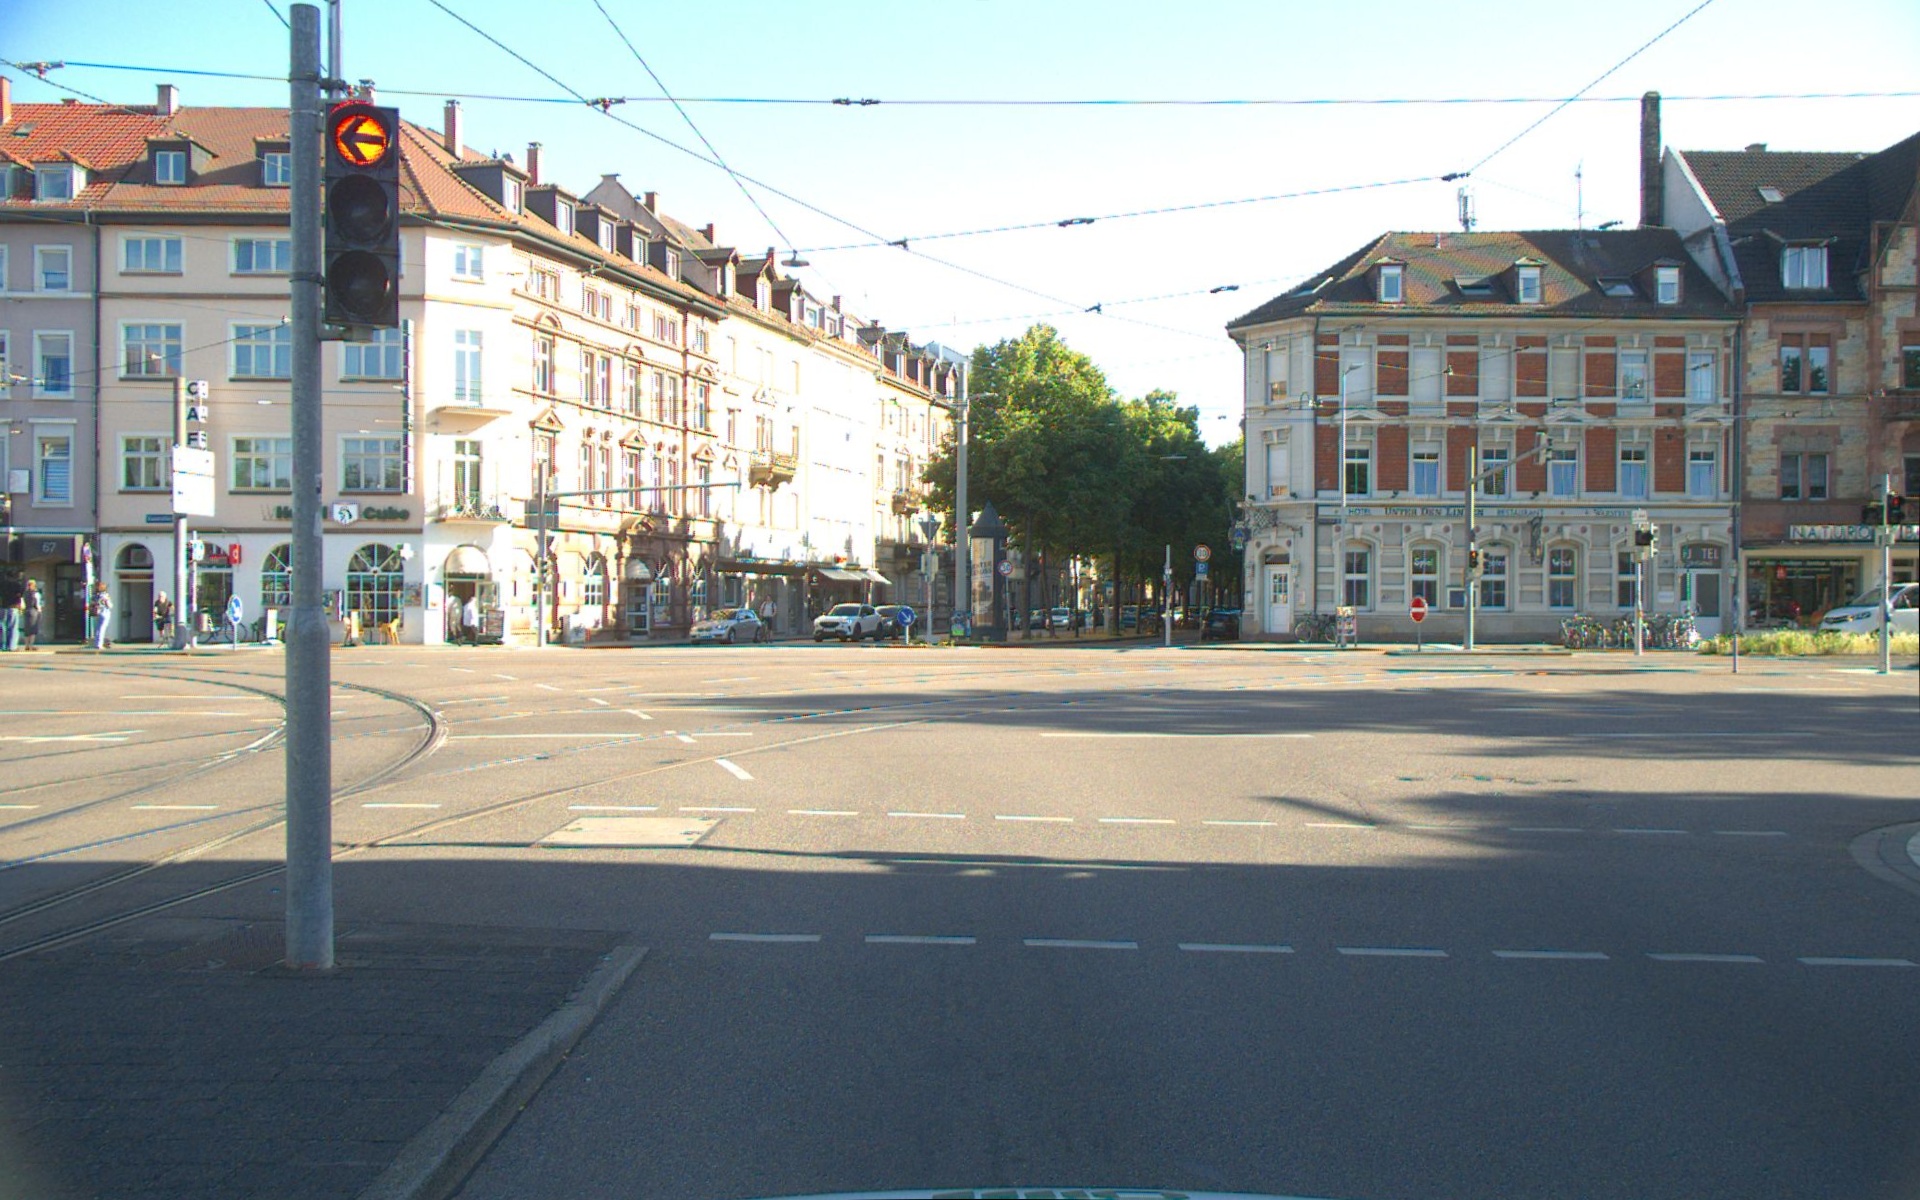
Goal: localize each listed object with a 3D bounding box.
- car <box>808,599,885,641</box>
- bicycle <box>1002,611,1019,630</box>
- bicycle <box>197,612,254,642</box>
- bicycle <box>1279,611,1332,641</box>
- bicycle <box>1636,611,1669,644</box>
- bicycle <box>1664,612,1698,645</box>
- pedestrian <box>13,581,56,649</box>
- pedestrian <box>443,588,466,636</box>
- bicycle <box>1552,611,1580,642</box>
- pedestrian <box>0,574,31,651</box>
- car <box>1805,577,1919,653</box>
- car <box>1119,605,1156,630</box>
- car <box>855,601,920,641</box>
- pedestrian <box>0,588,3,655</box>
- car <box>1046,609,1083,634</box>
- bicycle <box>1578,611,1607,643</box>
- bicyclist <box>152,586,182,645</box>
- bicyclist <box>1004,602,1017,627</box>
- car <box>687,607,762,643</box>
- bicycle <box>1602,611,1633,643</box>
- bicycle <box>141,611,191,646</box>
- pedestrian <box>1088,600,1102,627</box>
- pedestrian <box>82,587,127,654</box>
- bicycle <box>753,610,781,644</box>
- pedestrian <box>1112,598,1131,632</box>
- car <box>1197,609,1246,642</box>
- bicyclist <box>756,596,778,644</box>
[{"bbox_3d":[-4.580,0.807,67.191,1.764,1.613,4.162,1,0,16],"label":"car"},{"bbox_3d":[3.263,1.332,106.589,0.659,1.228,1.822,1,0,17],"label":"bicycle"},{"bbox_3d":[-25.100,0.916,56.513,1.666,1.000,0.611,1,0,-1],"label":"bicycle"},{"bbox_3d":[11.976,0.904,57.297,1.764,0.979,0.604,1,0,14],"label":"bicycle"},{"bbox_3d":[22.470,0.889,53.688,0.749,1.025,2.221,1,0,17],"label":"bicycle"},{"bbox_3d":[23.315,0.902,53.494,0.775,1.033,2.211,1,0,17],"label":"bicycle"},{"bbox_3d":[-22.947,0.373,41.036,0.571,1.677,0.840,1,-1,-1],"label":"pedestrian"},{"bbox_3d":[-17.877,0.429,58.440,0.489,1.705,0.586,0,-1,42],"label":"pedestrian"},{"bbox_3d":[19.804,0.856,54.044,0.749,0.979,2.211,1,0,17],"label":"bicycle"},{"bbox_3d":[-22.941,0.296,40.013,0.516,1.854,0.676,1,-1,-1],"label":"pedestrian"},{"bbox_3d":[24.868,0.388,42.716,5.093,1.886,2.000,0,0,-1],"label":"car"},{"bbox_3d":[12.541,1.230,116.625,1.951,1.713,4.003,1,0,15],"label":"car"},{"bbox_3d":[-3.194,0.932,73.559,1.786,1.715,3.877,1,0,16],"label":"car"},{"bbox_3d":[-24.323,0.543,41.181,0.561,1.677,0.727,1,-1,-1],"label":"pedestrian"},{"bbox_3d":[6.999,1.437,110.676,1.764,1.603,3.893,1,0,15],"label":"car"},{"bbox_3d":[20.558,0.869,53.807,0.749,0.985,2.211,1,0,17],"label":"bicycle"},{"bbox_3d":[-24.880,0.480,51.907,0.608,1.822,0.615,1,-1,4],"label":"bicyclist"},{"bbox_3d":[3.269,0.924,106.595,0.659,1.595,0.748,1,-1,17],"label":"bicyclist"},{"bbox_3d":[-9.471,0.987,66.873,1.624,1.398,3.894,1,0,14],"label":"car"},{"bbox_3d":[21.337,0.882,53.714,0.749,1.001,2.211,1,0,17],"label":"bicycle"},{"bbox_3d":[-24.888,0.881,51.868,0.608,1.048,1.755,1,0,4],"label":"bicycle"},{"bbox_3d":[10.386,1.053,127.088,0.923,2.049,0.827,1,-1,13],"label":"pedestrian"},{"bbox_3d":[-21.239,0.508,41.067,0.655,1.622,0.815,1,-1,-1],"label":"pedestrian"},{"bbox_3d":[-7.571,1.054,64.918,0.553,1.276,1.558,1,0,14],"label":"bicycle"},{"bbox_3d":[9.934,0.907,101.873,0.943,2.049,0.917,1,-1,-7],"label":"pedestrian"},{"bbox_3d":[13.089,1.273,82.701,1.719,1.583,4.001,1,0,20],"label":"car"},{"bbox_3d":[-7.574,0.778,64.928,0.553,1.835,0.915,1,-1,14],"label":"bicyclist"}]
